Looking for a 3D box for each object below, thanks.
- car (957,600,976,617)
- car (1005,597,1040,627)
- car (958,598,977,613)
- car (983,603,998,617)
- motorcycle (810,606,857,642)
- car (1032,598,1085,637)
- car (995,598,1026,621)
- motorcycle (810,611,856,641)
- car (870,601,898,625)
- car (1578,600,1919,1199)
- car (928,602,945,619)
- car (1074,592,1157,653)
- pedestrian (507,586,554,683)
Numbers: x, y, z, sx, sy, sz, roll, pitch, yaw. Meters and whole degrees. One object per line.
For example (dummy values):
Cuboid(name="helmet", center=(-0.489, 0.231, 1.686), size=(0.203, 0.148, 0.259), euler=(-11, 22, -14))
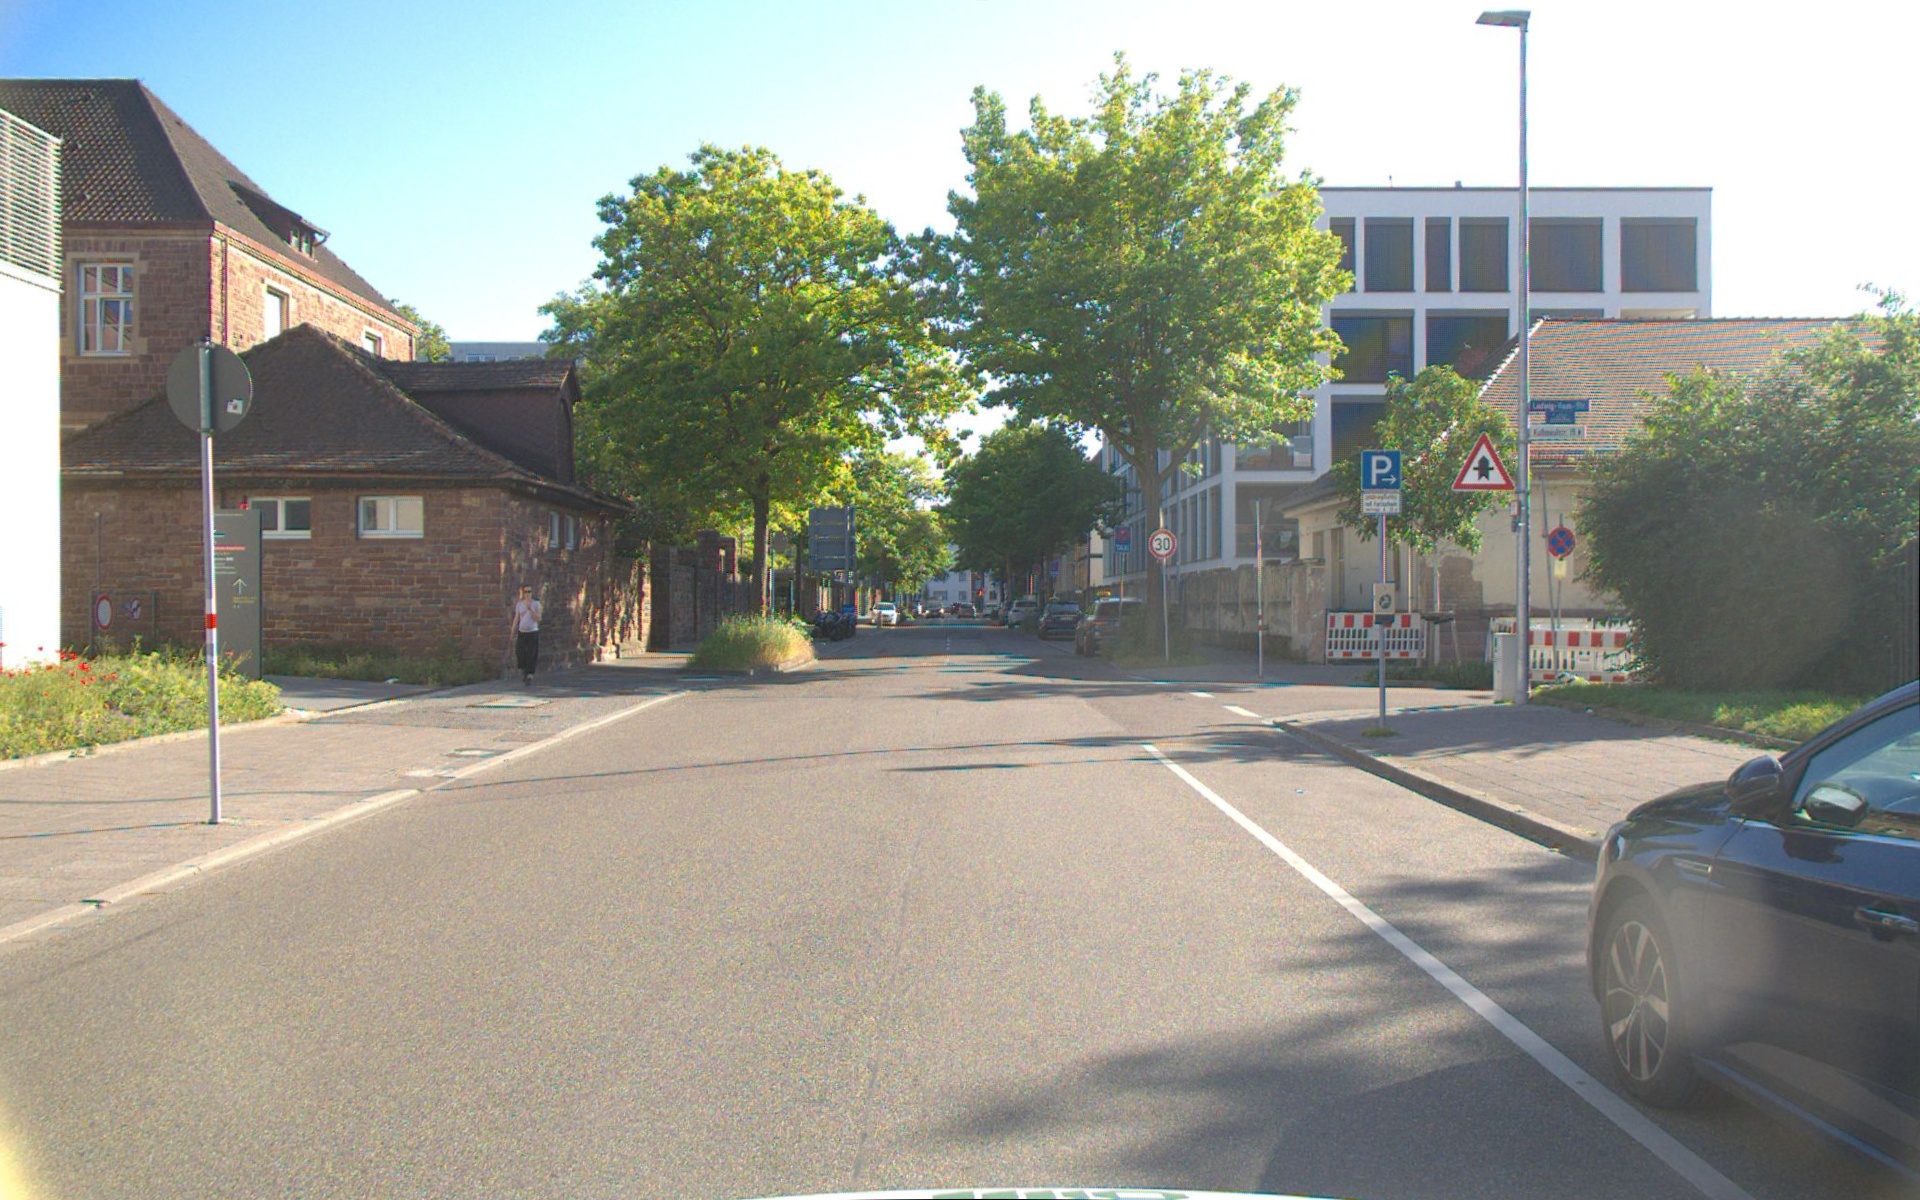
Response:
Cuboid(name="car", center=(0.613, 0.840, 157.276), size=(1.731, 1.575, 4.065), euler=(0, 0, -1))
Cuboid(name="car", center=(3.499, 0.662, 93.090), size=(1.910, 1.606, 3.836), euler=(0, 0, 1))
Cuboid(name="car", center=(0.728, 0.482, 157.342), size=(1.850, 1.424, 3.836), euler=(0, 0, 1))
Cuboid(name="car", center=(3.252, 1.049, 174.415), size=(1.553, 1.424, 3.836), euler=(0, 0, 1))
Cuboid(name="motorcycle", center=(-4.672, 0.870, 61.052), size=(0.566, 1.298, 2.116), euler=(0, 0, 33))
Cuboid(name="car", center=(3.827, 0.678, 64.531), size=(1.731, 1.465, 3.999), euler=(0, 0, -2))
Cuboid(name="car", center=(3.326, 0.613, 108.709), size=(1.952, 1.491, 3.836), euler=(0, 0, 1))
Cuboid(name="motorcycle", center=(-4.778, 0.974, 62.483), size=(0.566, 1.093, 2.116), euler=(0, 0, 33))
Cuboid(name="car", center=(-4.825, 0.813, 105.557), size=(1.731, 1.513, 3.999), euler=(0, 0, -2))
Cuboid(name="car", center=(2.973, 0.752, 3.483), size=(1.780, 1.478, 4.214), euler=(-1, 0, 0))
Cuboid(name="car", center=(-2.198, 0.961, 156.077), size=(1.619, 1.557, 4.000), euler=(0, 0, 0))
Cuboid(name="car", center=(3.994, 0.564, 43.180), size=(1.668, 1.494, 4.788), euler=(0, 0, -1))
Cuboid(name="pedestrian", center=(-7.193, 0.559, 27.723), size=(0.510, 1.590, 1.096), euler=(0, 0, -1))
